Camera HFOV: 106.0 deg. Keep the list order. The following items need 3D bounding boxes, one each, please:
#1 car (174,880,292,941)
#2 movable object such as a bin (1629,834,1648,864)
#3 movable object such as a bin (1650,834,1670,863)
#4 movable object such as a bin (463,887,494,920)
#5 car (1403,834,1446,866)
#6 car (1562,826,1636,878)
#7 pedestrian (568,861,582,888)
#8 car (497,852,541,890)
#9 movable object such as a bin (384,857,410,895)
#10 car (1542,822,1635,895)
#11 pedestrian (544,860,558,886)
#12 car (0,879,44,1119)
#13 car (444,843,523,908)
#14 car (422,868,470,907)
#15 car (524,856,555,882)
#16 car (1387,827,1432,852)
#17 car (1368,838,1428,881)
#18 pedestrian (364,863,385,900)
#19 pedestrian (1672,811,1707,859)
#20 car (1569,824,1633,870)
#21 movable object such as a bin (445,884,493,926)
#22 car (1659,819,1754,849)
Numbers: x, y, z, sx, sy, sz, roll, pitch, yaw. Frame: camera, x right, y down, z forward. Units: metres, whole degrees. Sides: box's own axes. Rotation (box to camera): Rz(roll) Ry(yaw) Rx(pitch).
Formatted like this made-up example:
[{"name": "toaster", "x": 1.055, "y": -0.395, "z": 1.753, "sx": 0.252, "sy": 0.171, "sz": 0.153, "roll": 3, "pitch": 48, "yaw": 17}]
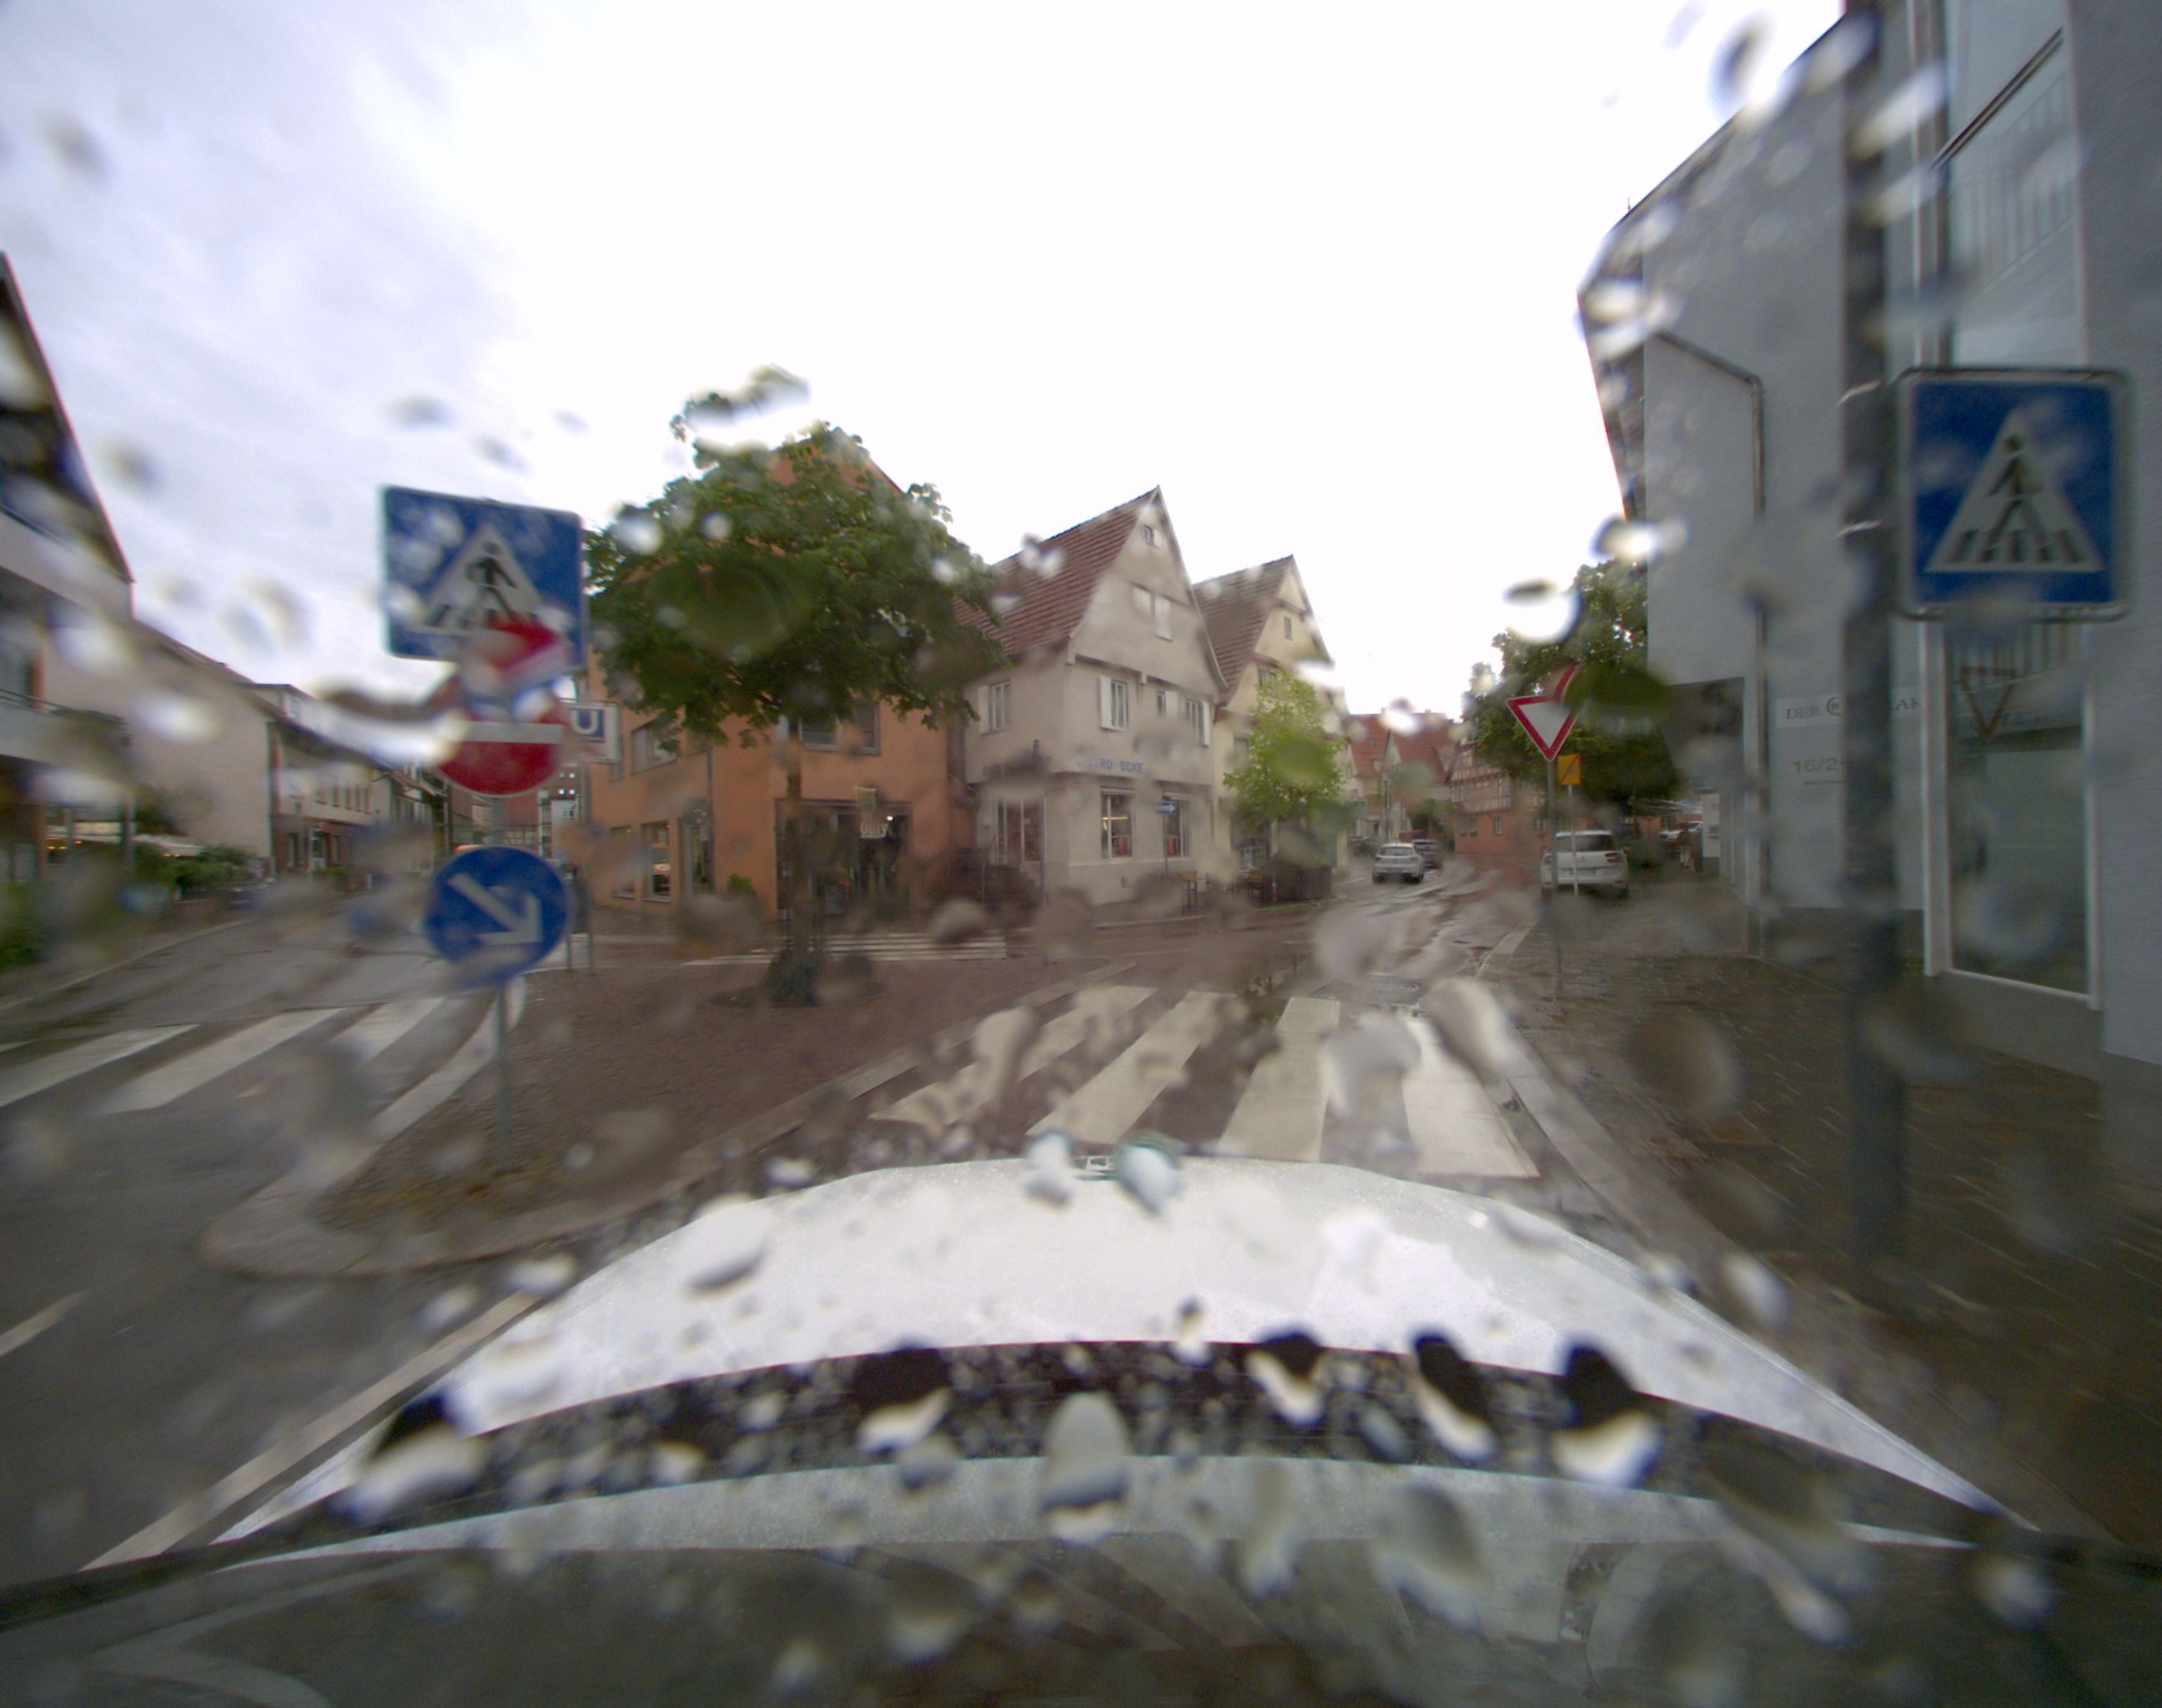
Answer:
[{"name": "car", "x": -30.768, "y": 1.995, "z": 29.546, "sx": 3.809, "sy": 2.014, "sz": 2.012, "roll": -1, "pitch": -1, "yaw": 28}, {"name": "movable object such as a bin", "x": 22.073, "y": -0.204, "z": 32.242, "sx": 0.532, "sy": 1.131, "sz": 0.732, "roll": -3, "pitch": 0, "yaw": 32}, {"name": "movable object such as a bin", "x": 22.634, "y": -0.205, "z": 31.847, "sx": 0.532, "sy": 1.083, "sz": 0.732, "roll": -3, "pitch": 0, "yaw": 32}, {"name": "movable object such as a bin", "x": -18.814, "y": 1.532, "z": 25.425, "sx": 0.579, "sy": 0.999, "sz": 0.657, "roll": -1, "pitch": -1, "yaw": 41}, {"name": "car", "x": 17.469, "y": -0.166, "z": 41.558, "sx": 1.859, "sy": 1.540, "sz": 4.423, "roll": -1, "pitch": -1, "yaw": 21}, {"name": "car", "x": 15.841, "y": -0.039, "z": 24.860, "sx": 1.770, "sy": 1.468, "sz": 3.974, "roll": -1, "pitch": -1, "yaw": 34}, {"name": "pedestrian", "x": -33.257, "y": 1.334, "z": 53.498, "sx": 0.757, "sy": 1.793, "sz": 0.793, "roll": 0, "pitch": -1, "yaw": -36}, {"name": "car", "x": -35.889, "y": 1.061, "z": 52.143, "sx": 2.219, "sy": 2.299, "sz": 5.898, "roll": 0, "pitch": -1, "yaw": -34}, {"name": "movable object such as a bin", "x": -36.886, "y": 1.153, "z": 43.892, "sx": 1.019, "sy": 2.014, "sz": 0.817, "roll": 0, "pitch": -1, "yaw": -44}, {"name": "car", "x": 12.738, "y": 0.115, "z": 20.494, "sx": 1.770, "sy": 1.639, "sz": 4.468, "roll": -1, "pitch": -1, "yaw": 32}, {"name": "pedestrian", "x": -36.264, "y": 1.287, "z": 55.737, "sx": 0.757, "sy": 1.793, "sz": 0.793, "roll": 0, "pitch": -1, "yaw": -36}, {"name": "car", "x": -6.716, "y": 0.914, "z": 2.872, "sx": 1.929, "sy": 1.491, "sz": 4.819, "roll": -2, "pitch": 0, "yaw": -28}, {"name": "car", "x": -23.270, "y": 0.805, "z": 31.939, "sx": 2.219, "sy": 2.299, "sz": 5.898, "roll": 0, "pitch": -1, "yaw": -34}, {"name": "car", "x": -35.362, "y": 1.818, "z": 45.430, "sx": 2.009, "sy": 2.014, "sz": 4.346, "roll": 0, "pitch": -1, "yaw": -37}, {"name": "car", "x": -48.604, "y": 1.324, "z": 73.112, "sx": 2.219, "sy": 2.299, "sz": 5.898, "roll": 0, "pitch": -1, "yaw": -34}, {"name": "car", "x": 24.563, "y": -1.120, "z": 61.051, "sx": 1.886, "sy": 1.811, "sz": 4.003, "roll": 0, "pitch": 2, "yaw": 2}, {"name": "car", "x": 12.320, "y": 0.175, "z": 31.508, "sx": 1.832, "sy": 1.451, "sz": 4.097, "roll": -1, "pitch": 2, "yaw": 26}, {"name": "pedestrian", "x": -34.964, "y": 1.370, "z": 40.301, "sx": 0.758, "sy": 1.793, "sz": 0.792, "roll": 0, "pitch": -1, "yaw": -45}, {"name": "pedestrian", "x": 22.269, "y": -0.682, "z": 29.808, "sx": 0.895, "sy": 1.713, "sz": 0.877, "roll": 0, "pitch": -1, "yaw": -44}, {"name": "car", "x": 19.143, "y": -0.279, "z": 29.917, "sx": 1.770, "sy": 1.555, "sz": 3.975, "roll": -2, "pitch": 0, "yaw": 35}, {"name": "movable object such as a bin", "x": -17.654, "y": 1.449, "z": 23.483, "sx": 0.765, "sy": 1.158, "sz": 0.955, "roll": -1, "pitch": -1, "yaw": 40}, {"name": "car", "x": 40.271, "y": -1.303, "z": 52.484, "sx": 4.584, "sy": 1.633, "sz": 2.001, "roll": -3, "pitch": 2, "yaw": 1}]
